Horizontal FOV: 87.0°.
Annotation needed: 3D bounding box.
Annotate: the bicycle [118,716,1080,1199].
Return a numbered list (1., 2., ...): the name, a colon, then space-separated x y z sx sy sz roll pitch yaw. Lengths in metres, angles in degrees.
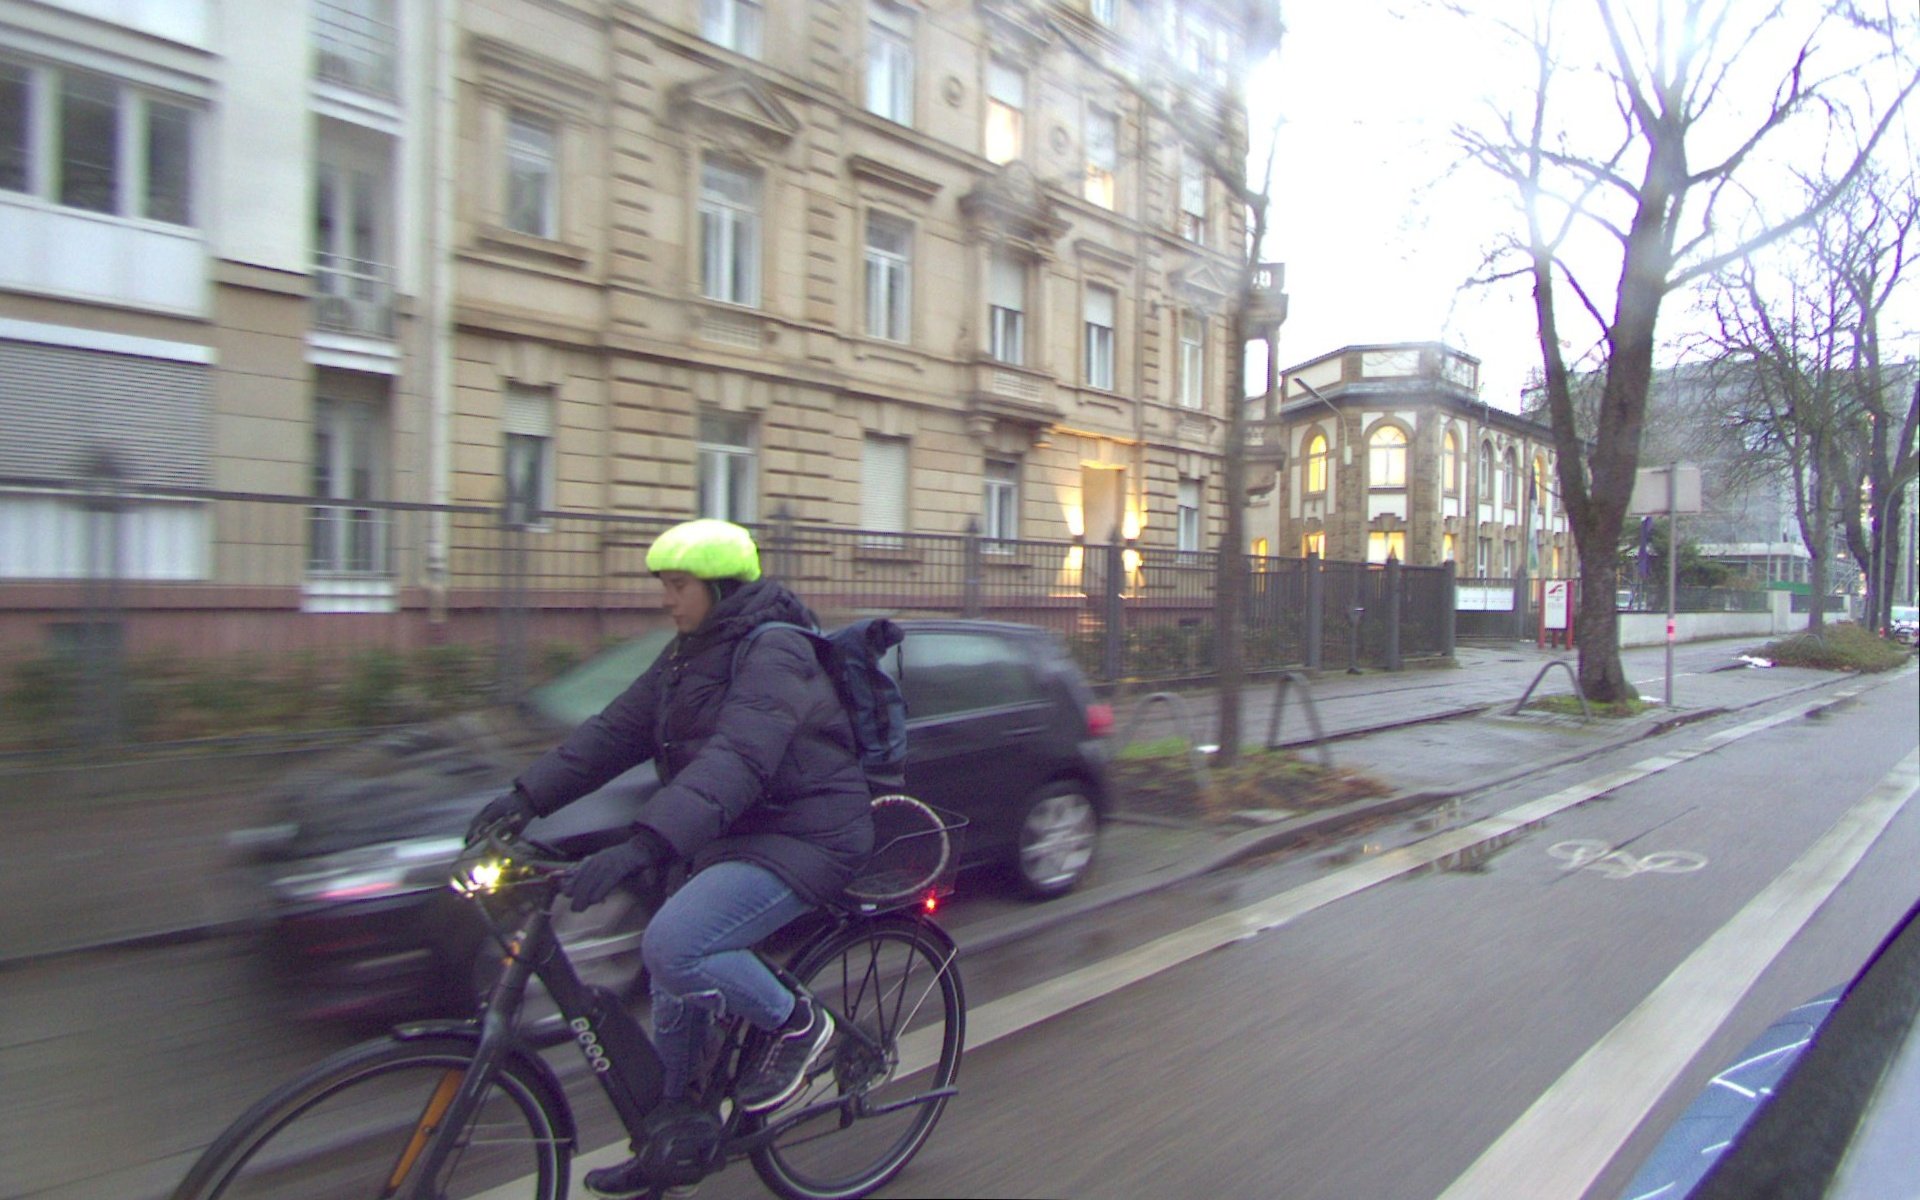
1. bicycle: -0.604 0.923 2.261 0.717 1.126 1.910 -1 -1 44

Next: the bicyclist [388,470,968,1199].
1. bicyclist: -0.602 0.633 2.274 0.717 1.684 1.039 -2 -2 45

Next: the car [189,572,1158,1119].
1. car: -1.024 0.681 4.841 4.087 1.463 1.760 1 2 -43

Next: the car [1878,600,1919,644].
1. car: 34.036 0.758 36.180 3.935 1.425 1.624 -1 1 -45

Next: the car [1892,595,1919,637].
1. car: 41.089 0.634 43.032 3.935 1.703 1.995 -1 1 -45
